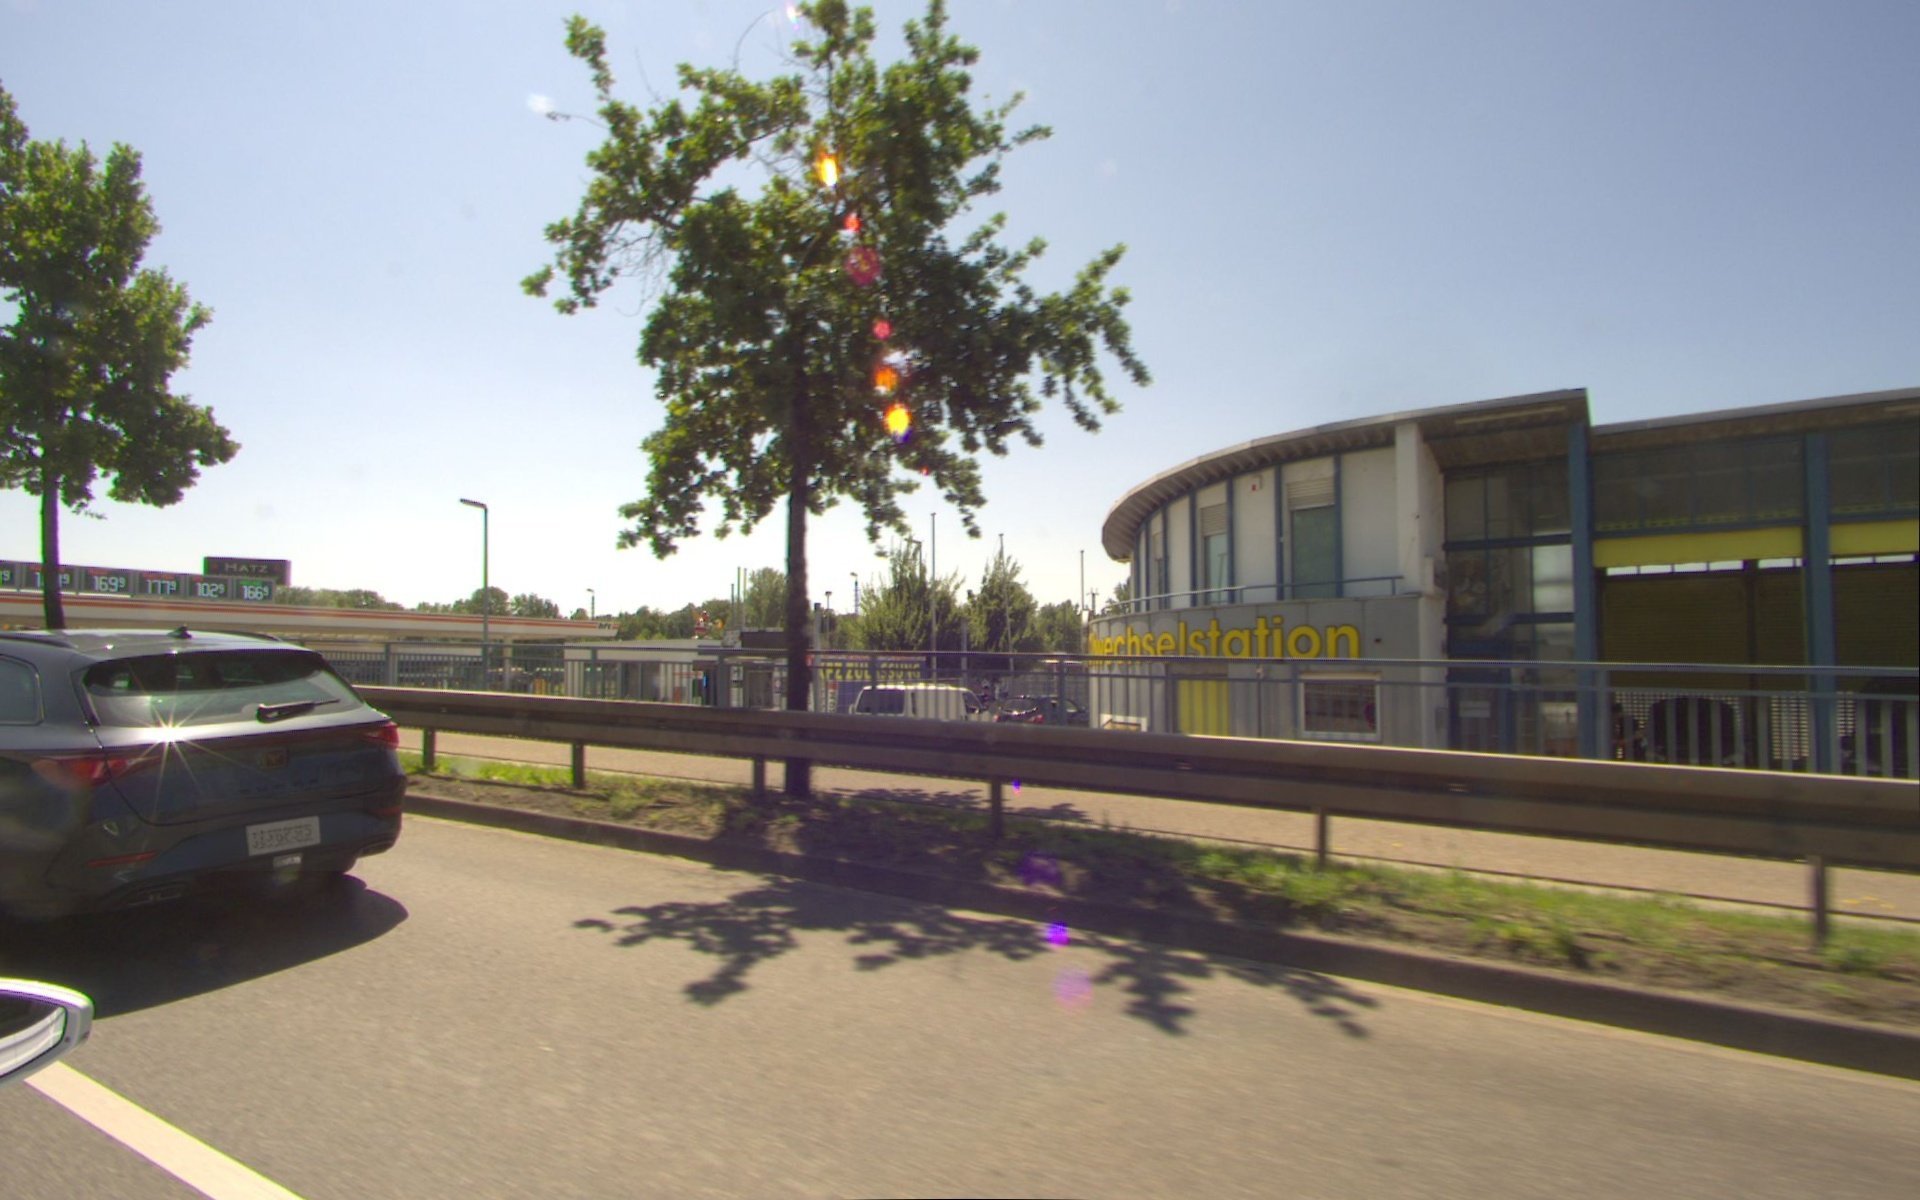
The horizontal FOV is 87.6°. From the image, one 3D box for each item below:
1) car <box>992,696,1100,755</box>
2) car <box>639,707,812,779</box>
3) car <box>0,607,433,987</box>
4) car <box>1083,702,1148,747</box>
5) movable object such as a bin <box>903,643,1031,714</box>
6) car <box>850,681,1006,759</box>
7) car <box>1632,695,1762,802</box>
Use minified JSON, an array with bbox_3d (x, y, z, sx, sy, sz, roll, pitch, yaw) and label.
[{"bbox_3d":[2.693,3.752,30.481,1.452,1.493,4.125,-2,-4,34],"label":"car"},{"bbox_3d":[-4.777,2.929,20.718,3.253,1.325,1.466,0,-3,-2],"label":"car"},{"bbox_3d":[-5.025,0.863,5.586,4.170,1.474,1.605,-2,-3,28],"label":"car"},{"bbox_3d":[5.456,4.325,35.047,1.207,1.367,2.699,-2,-3,34],"label":"car"},{"bbox_3d":[0.691,4.441,58.268,2.989,3.753,11.048,-1,-3,26],"label":"movable object such as a bin"},{"bbox_3d":[-0.694,2.939,25.317,1.575,1.680,4.585,-2,-4,34],"label":"car"},{"bbox_3d":[14.146,2.768,19.399,1.627,1.704,3.664,-2,-3,31],"label":"car"}]
